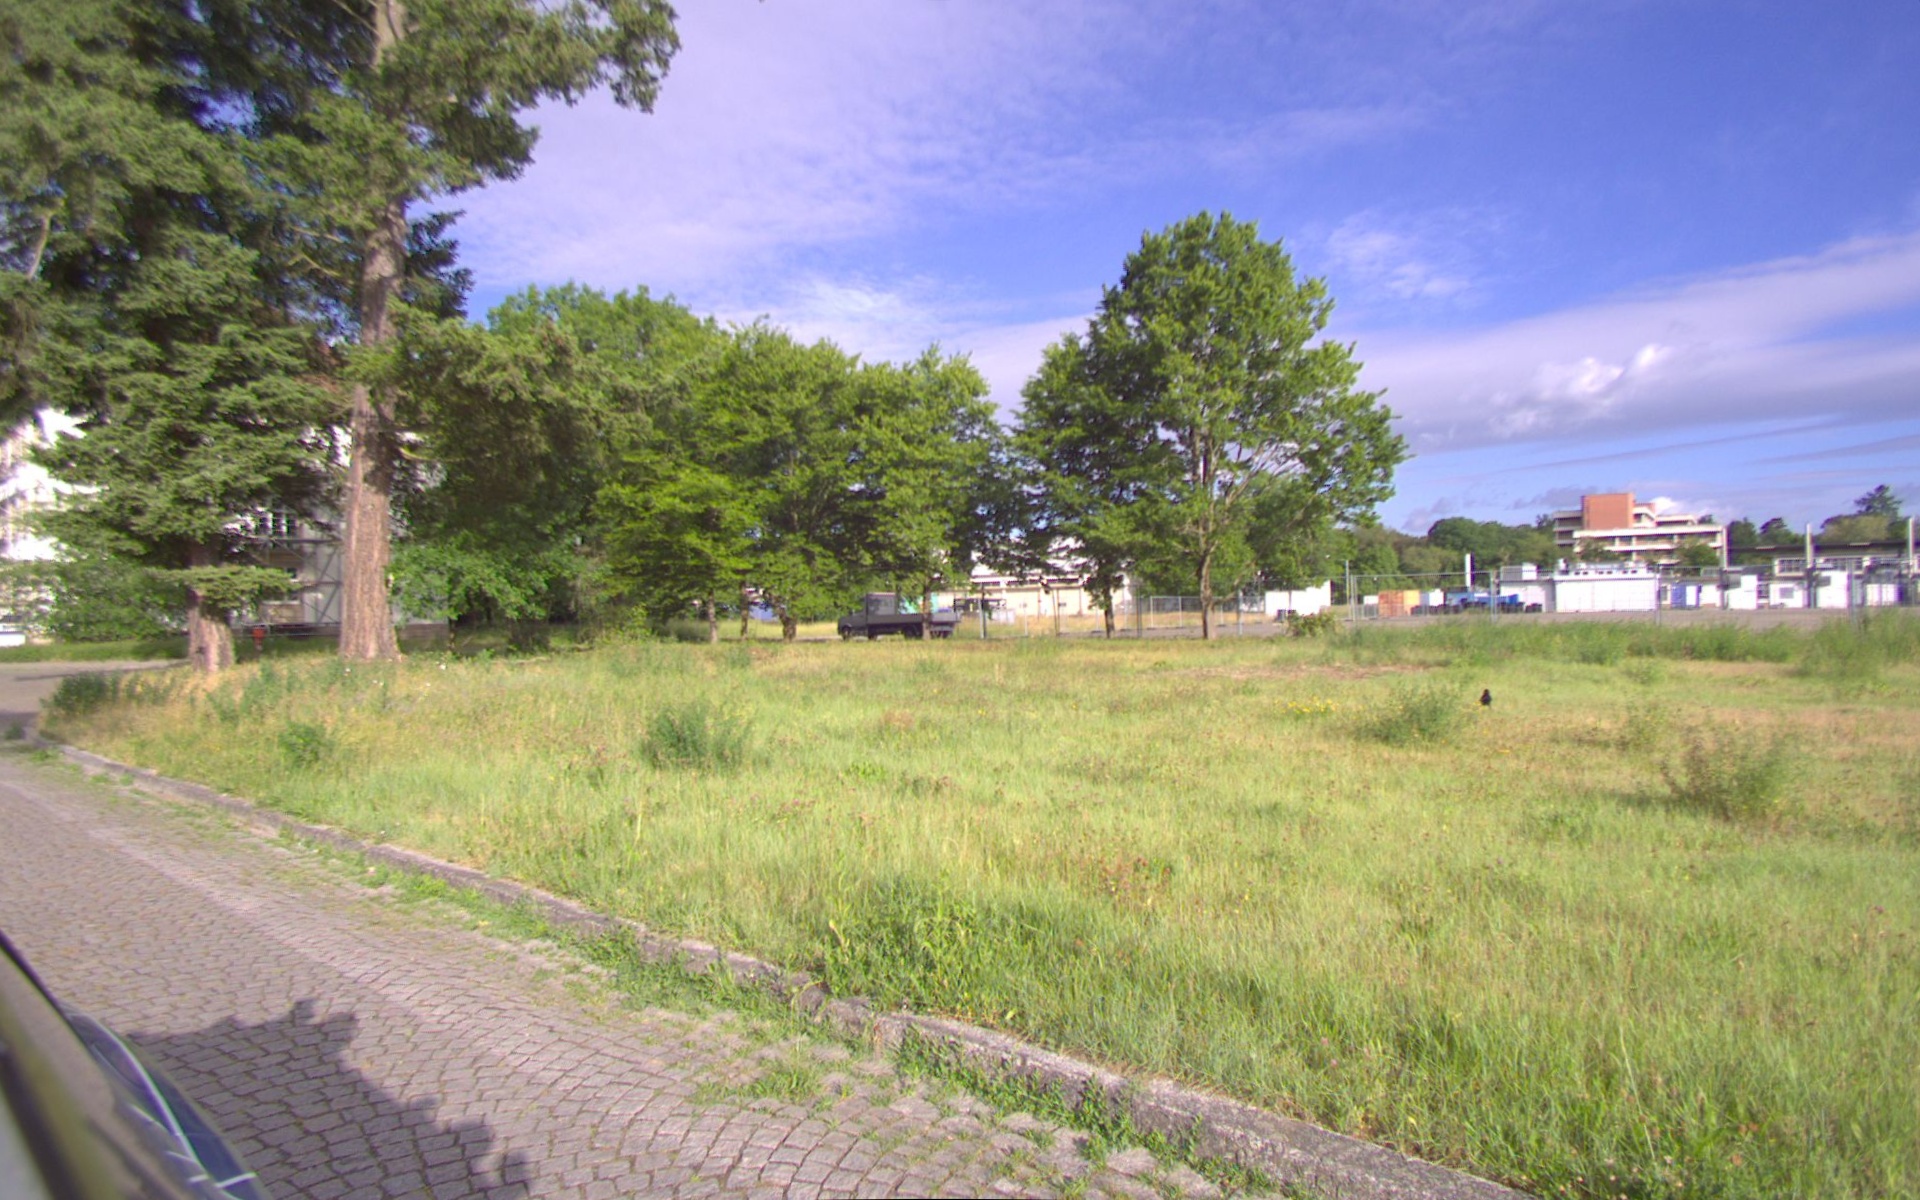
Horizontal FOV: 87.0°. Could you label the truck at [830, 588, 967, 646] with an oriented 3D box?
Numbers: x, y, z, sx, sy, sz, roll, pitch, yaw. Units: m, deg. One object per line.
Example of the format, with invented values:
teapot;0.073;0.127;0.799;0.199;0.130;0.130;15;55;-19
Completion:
truck;-3.065;0.861;48.903;6.955;2.606;2.386;-2;-1;41
